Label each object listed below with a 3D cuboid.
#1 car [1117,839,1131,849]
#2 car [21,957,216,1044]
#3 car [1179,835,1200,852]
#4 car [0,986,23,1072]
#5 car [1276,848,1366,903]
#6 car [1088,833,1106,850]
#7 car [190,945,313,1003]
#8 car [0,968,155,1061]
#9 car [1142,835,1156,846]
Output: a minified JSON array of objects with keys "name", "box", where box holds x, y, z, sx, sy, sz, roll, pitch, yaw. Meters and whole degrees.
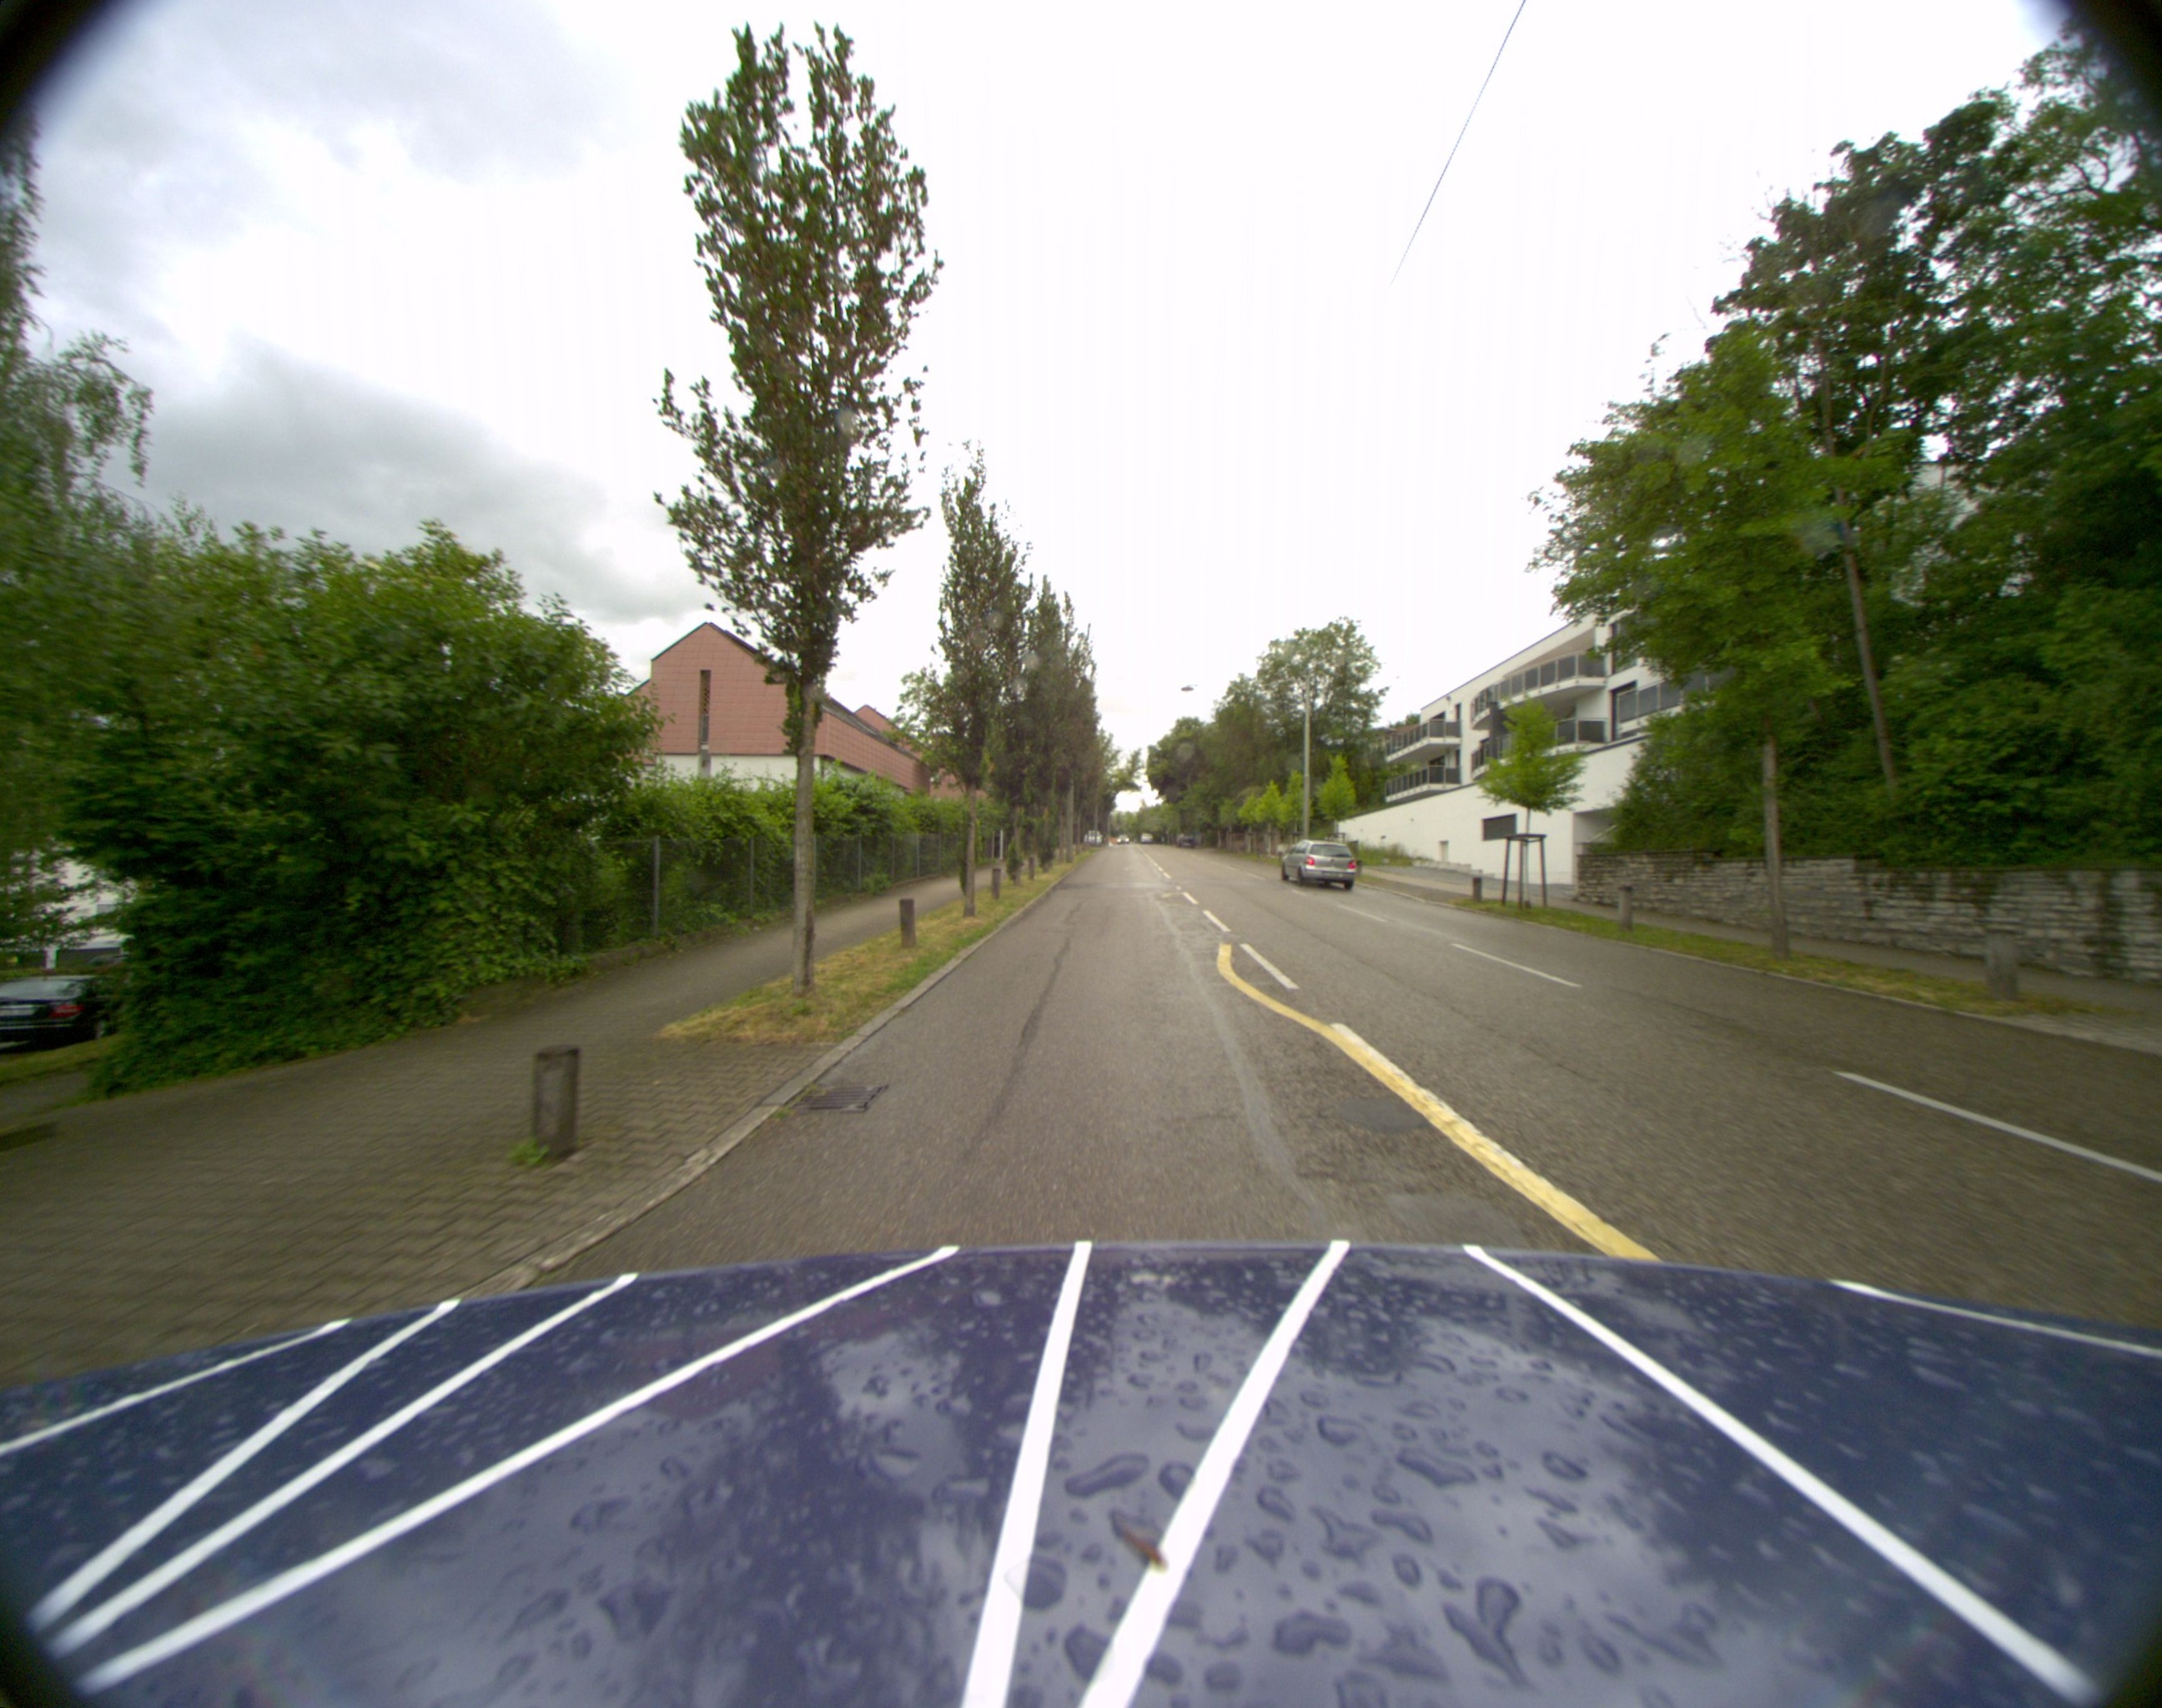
[{"name":"car","box":[7.009,-1.616,123.111,1.998,1.674,4.001,-2,1,6]},{"name":"car","box":[-24.185,3.587,19.318,2.003,1.586,3.992,-3,-3,-36]},{"name":"car","box":[11.363,-1.133,79.645,1.749,1.540,3.917,4,2,2]},{"name":"car","box":[-18.045,2.862,11.219,1.730,1.412,4.293,-3,-4,-39]},{"name":"car","box":[7.583,0.619,24.350,1.769,1.477,3.801,4,1,3]},{"name":"car","box":[1.655,-1.306,77.430,1.829,1.620,3.999,1,2,2]},{"name":"car","box":[-28.742,4.086,26.492,2.003,1.586,3.992,-3,-3,-34]},{"name":"car","box":[-21.131,3.276,15.798,1.598,1.370,3.890,-3,-2,-39]},{"name":"car","box":[9.420,-1.893,105.987,1.766,1.478,3.999,2,2,3]}]
